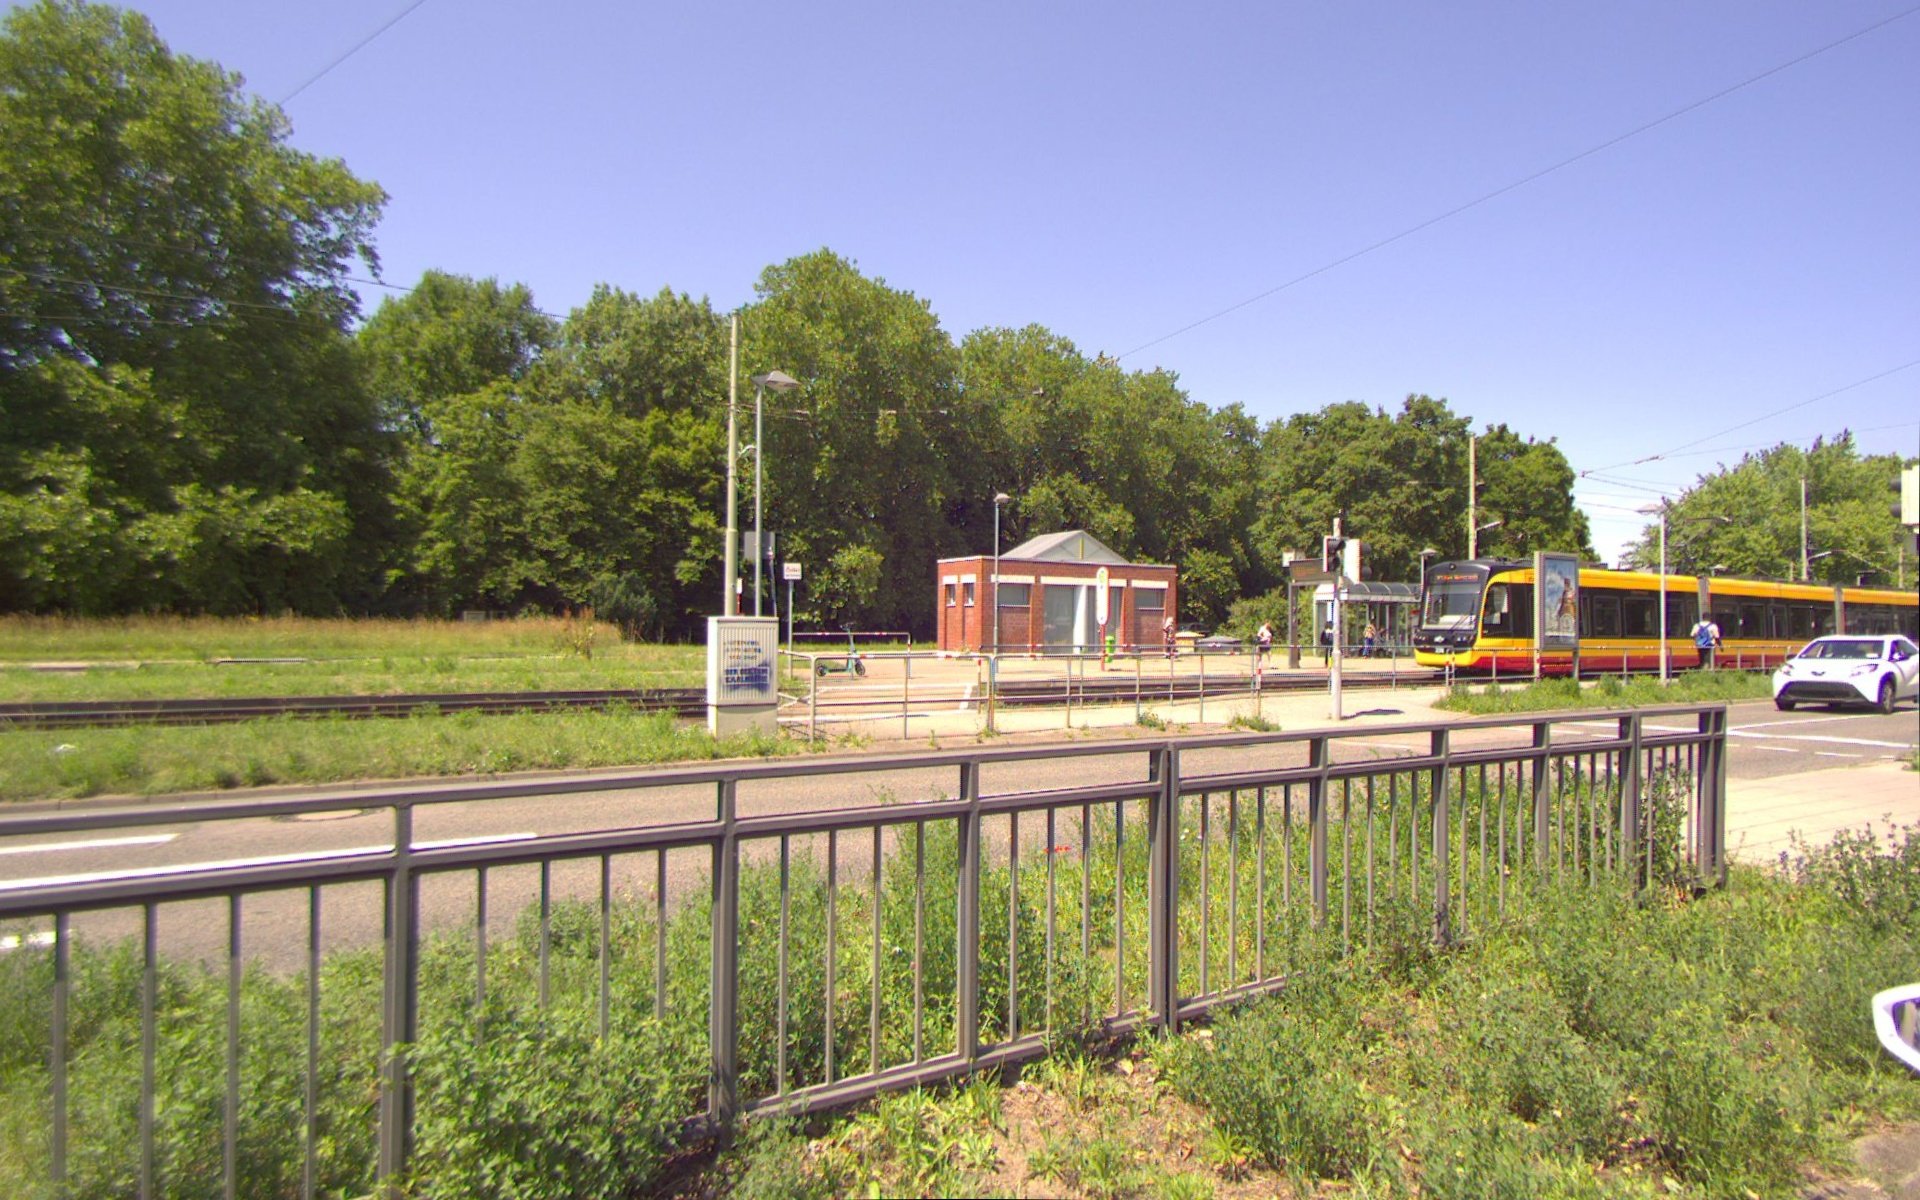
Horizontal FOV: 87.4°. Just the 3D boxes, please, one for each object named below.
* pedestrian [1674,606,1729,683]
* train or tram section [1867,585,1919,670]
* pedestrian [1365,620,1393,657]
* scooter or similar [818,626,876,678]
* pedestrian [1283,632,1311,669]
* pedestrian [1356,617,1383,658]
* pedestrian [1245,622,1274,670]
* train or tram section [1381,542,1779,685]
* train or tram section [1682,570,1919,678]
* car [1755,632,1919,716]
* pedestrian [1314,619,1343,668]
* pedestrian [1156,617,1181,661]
[{"bbox_3d":[18.356,1.079,24.872,0.832,1.802,0.714,-1,5,-30],"label":"pedestrian"},{"bbox_3d":[51.304,1.499,53.966,3.182,3.984,18.387,0,-1,44],"label":"train or tram section"},{"bbox_3d":[17.248,1.576,41.371,0.710,1.531,0.841,1,-1,-19],"label":"pedestrian"},{"bbox_3d":[-2.635,1.205,23.449,1.217,1.183,0.508,1,-1,-30],"label":"scooter or similar"},{"bbox_3d":[10.759,1.599,32.052,0.563,1.139,0.636,1,-1,-30],"label":"pedestrian"},{"bbox_3d":[16.424,1.491,40.312,0.799,1.611,0.668,1,-1,-30],"label":"pedestrian"},{"bbox_3d":[9.308,1.412,31.182,0.576,1.476,0.636,1,-1,-30],"label":"pedestrian"},{"bbox_3d":[21.576,0.576,33.921,18.281,3.984,3.200,1,-1,-30],"label":"train or tram section"},{"bbox_3d":[37.344,1.106,43.075,18.281,3.984,3.200,1,-1,-30],"label":"train or tram section"},{"bbox_3d":[18.055,1.438,20.369,3.747,1.514,1.836,1,-1,-30],"label":"car"},{"bbox_3d":[11.879,1.391,32.376,0.688,1.575,0.629,1,-1,-42],"label":"pedestrian"},{"bbox_3d":[7.149,1.333,34.448,0.563,1.499,0.636,1,-1,-30],"label":"pedestrian"}]
